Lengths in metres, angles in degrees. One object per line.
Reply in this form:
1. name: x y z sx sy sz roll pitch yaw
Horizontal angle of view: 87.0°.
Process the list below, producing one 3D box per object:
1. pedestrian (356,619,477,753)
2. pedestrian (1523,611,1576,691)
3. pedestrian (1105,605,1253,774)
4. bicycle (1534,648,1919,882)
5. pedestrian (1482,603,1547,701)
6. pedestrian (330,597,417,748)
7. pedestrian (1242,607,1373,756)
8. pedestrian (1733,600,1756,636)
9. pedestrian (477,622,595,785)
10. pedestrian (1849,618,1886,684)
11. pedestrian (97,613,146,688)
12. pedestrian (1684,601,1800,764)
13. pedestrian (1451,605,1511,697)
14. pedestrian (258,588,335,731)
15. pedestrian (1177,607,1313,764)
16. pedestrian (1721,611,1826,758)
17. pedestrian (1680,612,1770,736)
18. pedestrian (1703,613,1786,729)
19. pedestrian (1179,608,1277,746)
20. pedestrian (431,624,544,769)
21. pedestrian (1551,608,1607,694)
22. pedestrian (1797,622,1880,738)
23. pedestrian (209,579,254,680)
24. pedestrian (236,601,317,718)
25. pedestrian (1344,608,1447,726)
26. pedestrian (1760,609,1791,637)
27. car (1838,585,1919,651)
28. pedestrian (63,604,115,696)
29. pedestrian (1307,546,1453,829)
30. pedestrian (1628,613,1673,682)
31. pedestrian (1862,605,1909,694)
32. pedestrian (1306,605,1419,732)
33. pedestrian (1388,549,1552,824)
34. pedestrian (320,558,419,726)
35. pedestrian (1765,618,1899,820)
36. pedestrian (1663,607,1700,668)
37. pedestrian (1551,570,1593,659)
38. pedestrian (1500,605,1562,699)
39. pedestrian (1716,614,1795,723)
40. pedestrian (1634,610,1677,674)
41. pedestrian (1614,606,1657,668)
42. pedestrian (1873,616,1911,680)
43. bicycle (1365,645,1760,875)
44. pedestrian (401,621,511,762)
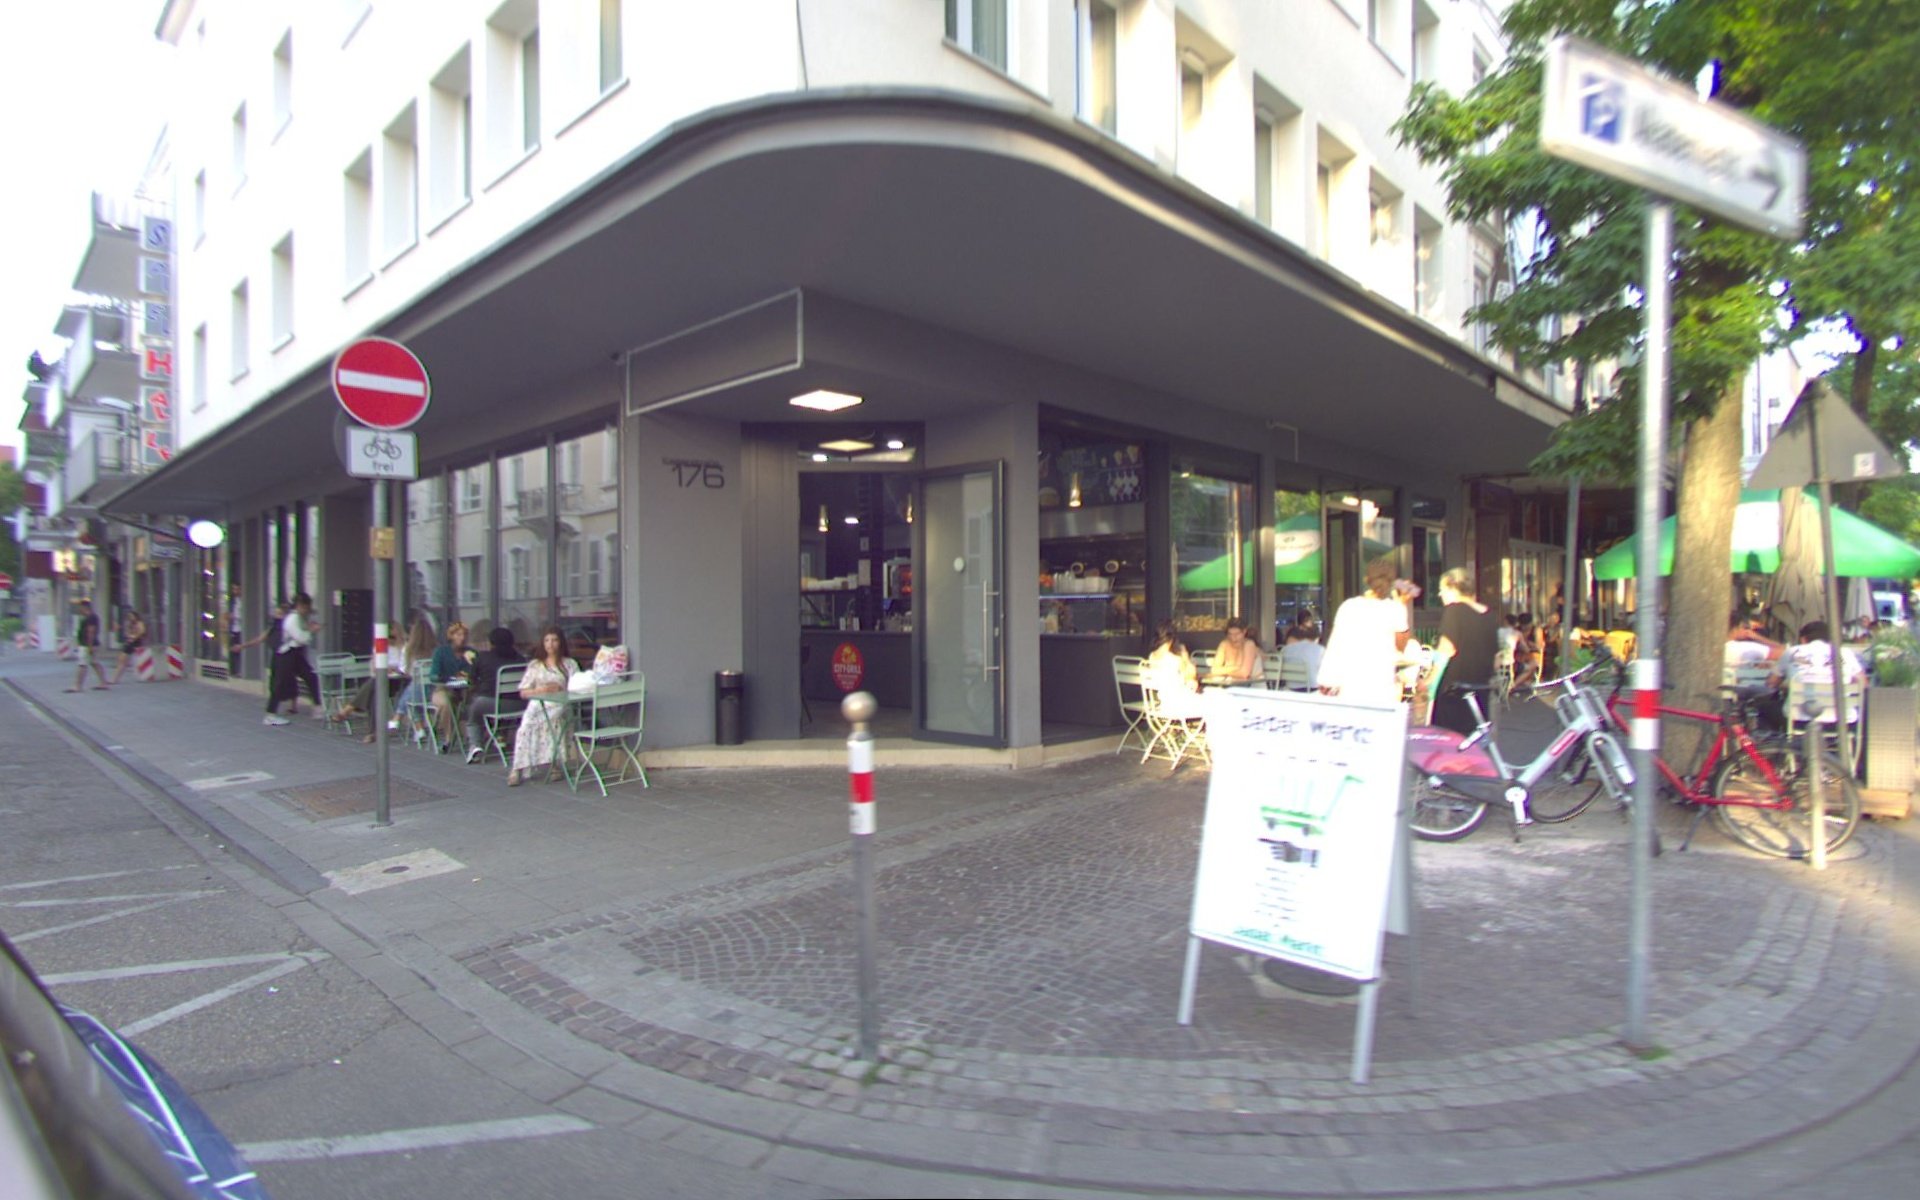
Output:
1. pedestrian: -5.559 0.852 10.375 0.854 1.296 0.702 -1 0 20
2. pedestrian: 10.560 0.903 18.114 0.657 1.389 0.754 0 -1 44
3. pedestrian: 1.869 0.719 8.642 0.868 1.330 0.889 2 -1 -43
4. bicycle: 4.571 0.902 6.087 1.866 1.148 0.618 0 -1 41
5. pedestrian: 8.100 0.742 14.789 0.657 1.389 0.754 0 -1 44
6. pedestrian: -6.417 0.760 11.062 0.695 1.559 0.862 -1 -1 -39
7. pedestrian: 3.349 0.747 9.757 0.868 1.330 0.889 2 -1 -43
8. pedestrian: 32.323 0.742 41.711 0.504 1.444 0.612 1 2 -44
9. pedestrian: -3.431 0.808 8.254 0.695 1.228 0.843 -1 0 -9
10. pedestrian: 19.493 1.081 21.732 0.581 1.389 0.556 0 -1 44
11. pedestrian: -18.342 1.092 22.133 0.613 1.590 0.701 -1 0 41
12. pedestrian: 7.075 0.704 9.151 0.911 1.372 0.719 1 -1 -45
13. pedestrian: 8.213 0.785 15.942 0.657 1.389 0.754 0 -1 44
14. pedestrian: -8.559 0.743 13.078 0.771 1.752 0.761 -2 -1 -32
15. pedestrian: 2.589 0.737 9.203 0.868 1.330 0.851 2 -1 -43
16. pedestrian: 8.092 0.802 10.062 0.859 1.372 0.719 1 -1 -45
17. pedestrian: 9.019 0.837 11.925 0.997 1.372 0.719 1 -1 -45
18. pedestrian: 9.855 0.859 12.711 0.911 1.372 0.719 1 -1 -45
19. pedestrian: 2.733 0.751 10.308 0.829 1.330 0.625 2 -1 -43
20. pedestrian: -4.302 0.848 9.221 0.696 1.204 0.692 -4 2 -43
21. pedestrian: 10.413 0.840 17.017 0.657 1.389 0.754 0 -1 44
22. pedestrian: 11.096 0.976 12.774 0.997 1.372 0.719 1 -1 -45
23. pedestrian: -13.473 0.542 18.718 0.613 1.824 0.538 -1 -2 43
24. pedestrian: -9.525 0.814 14.110 0.633 1.581 0.655 -2 0 18
25. pedestrian: 5.208 0.771 12.113 0.868 1.330 0.851 2 -1 -43
26. pedestrian: 34.520 0.983 42.835 0.765 1.128 0.826 2 1 -37
27. car: 28.190 0.545 30.878 1.801 1.832 4.449 2 0 45
28. pedestrian: -17.531 0.993 20.359 0.933 1.795 0.696 -1 -1 43
29. pedestrian: 2.745 0.541 6.684 0.773 1.754 0.639 1 -1 13
30. pedestrian: 14.300 0.967 20.957 0.657 1.389 0.754 0 -1 44
31. pedestrian: 14.889 0.788 16.276 0.549 1.389 0.556 0 -1 44
32. pedestrian: 4.484 0.726 11.271 0.868 1.330 0.889 2 -1 -43
33. pedestrian: 3.411 0.555 6.824 0.771 1.754 0.641 1 -1 2
34. pedestrian: -6.764 0.454 11.585 0.933 1.824 0.706 -2 0 44
35. pedestrian: 6.485 0.831 7.525 0.781 1.388 0.696 1 -1 -45
36. pedestrian: 16.875 0.873 23.665 0.607 1.389 0.639 0 -1 44
37. pedestrian: 12.642 0.295 20.914 0.653 1.779 0.759 0 -1 25
38. pedestrian: 8.727 0.781 15.462 0.657 1.389 0.754 0 -1 44
39. pedestrian: 10.574 0.879 13.447 0.997 1.372 0.719 1 -1 -45
40. pedestrian: 14.973 0.897 21.788 0.657 1.341 0.754 0 -1 44
41. pedestrian: 15.519 0.834 23.251 0.693 1.389 0.754 0 -1 44
42. pedestrian: 19.114 0.970 20.750 0.553 1.276 0.632 0 -1 44
43. bicycle: 3.434 0.871 5.975 1.850 1.148 0.776 1 -1 16
44. pedestrian: -4.904 0.856 9.844 0.696 1.249 0.778 -4 2 -43
